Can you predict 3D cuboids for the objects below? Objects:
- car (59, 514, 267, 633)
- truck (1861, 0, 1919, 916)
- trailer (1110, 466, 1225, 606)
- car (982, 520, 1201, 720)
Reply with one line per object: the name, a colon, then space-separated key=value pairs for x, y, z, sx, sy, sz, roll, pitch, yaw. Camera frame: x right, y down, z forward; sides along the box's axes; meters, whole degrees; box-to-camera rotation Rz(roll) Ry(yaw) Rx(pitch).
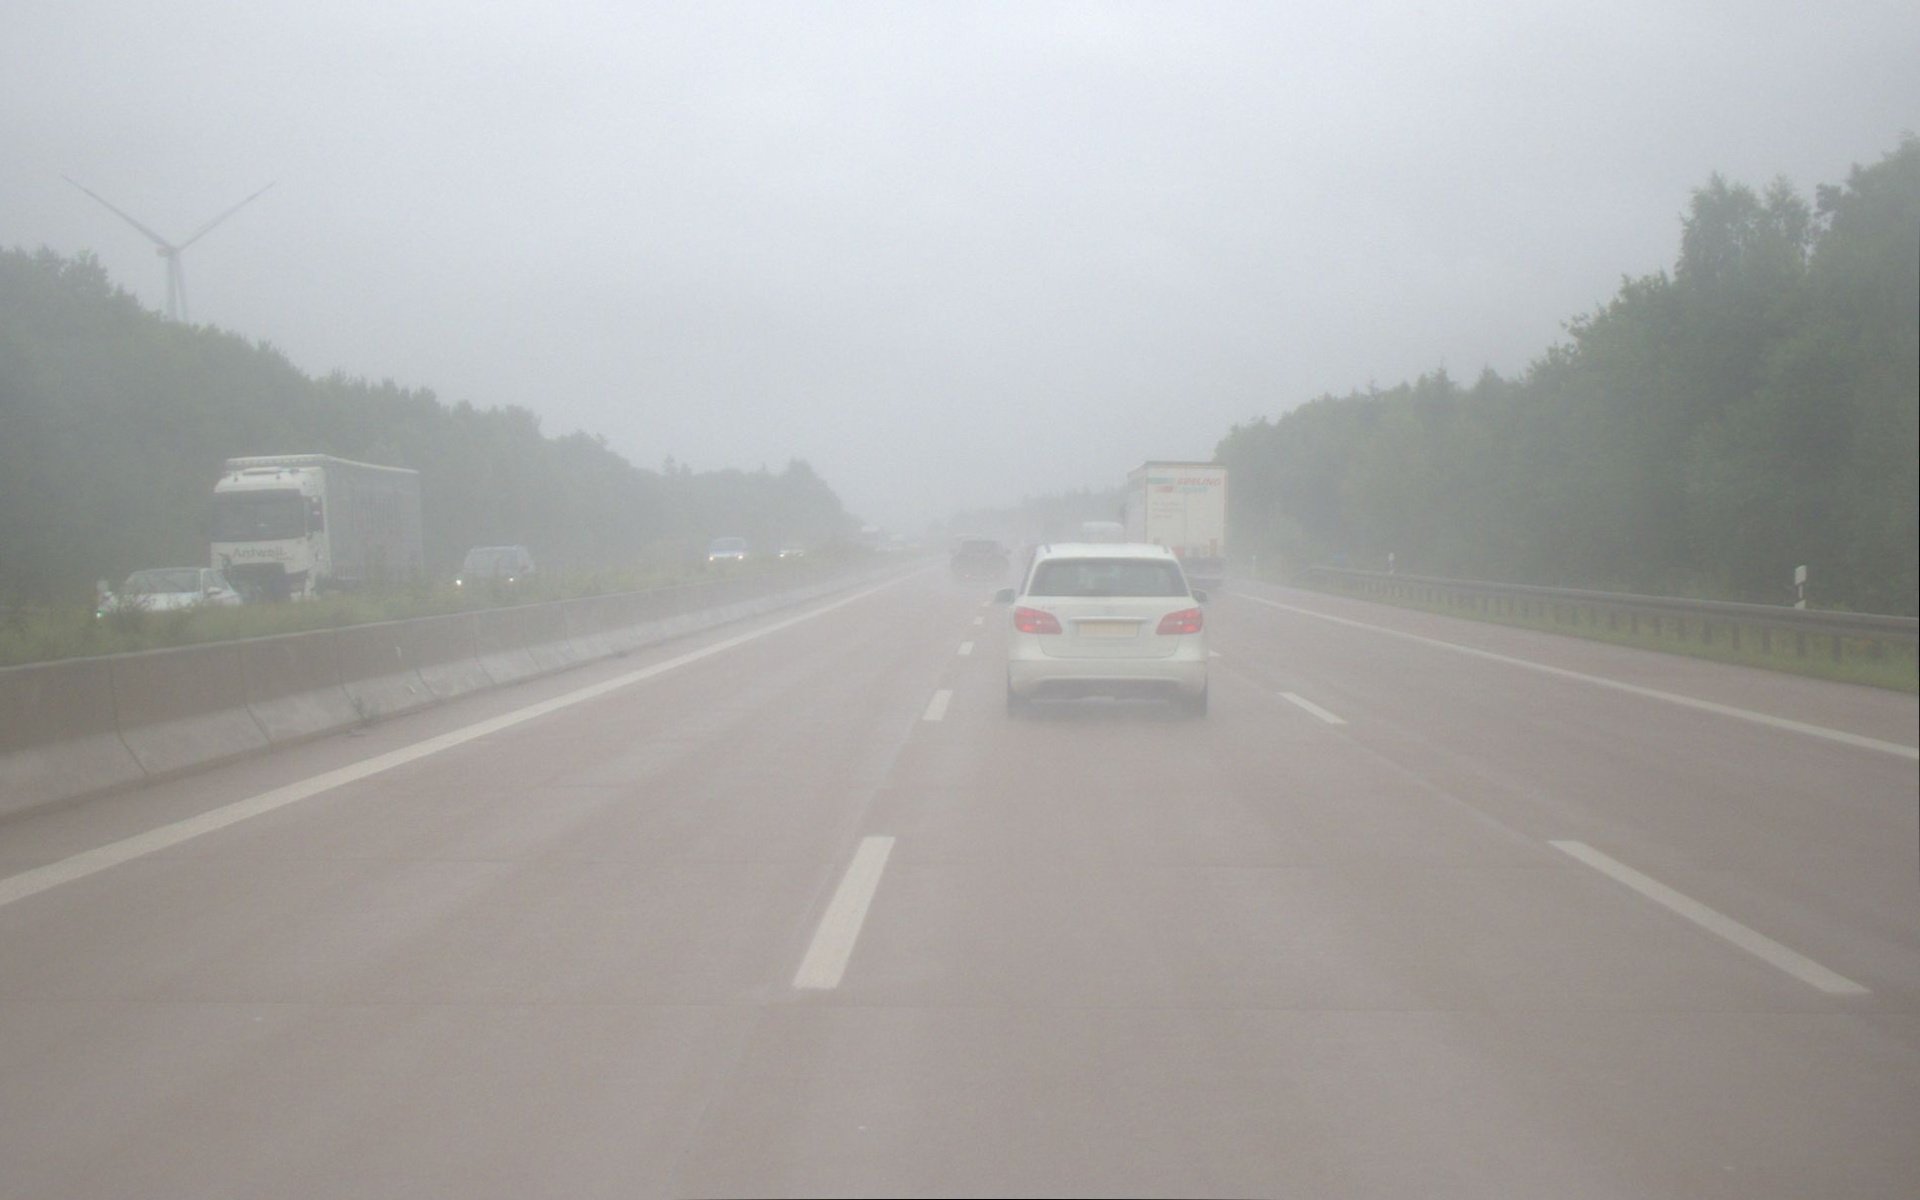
car: x=-13.846 y=-0.491 z=60.116 sx=2.306 sy=1.971 sz=5.756 roll=0 pitch=1 yaw=0
truck: x=5.447 y=-0.521 z=10.661 sx=3.234 sy=3.717 sz=7.955 roll=1 pitch=1 yaw=1
trailer: x=6.659 y=-2.136 z=112.221 sx=2.852 sy=4.217 sz=13.133 roll=-1 pitch=1 yaw=0
car: x=1.152 y=0.134 z=32.111 sx=1.808 sy=1.722 sz=4.744 roll=0 pitch=1 yaw=-1
